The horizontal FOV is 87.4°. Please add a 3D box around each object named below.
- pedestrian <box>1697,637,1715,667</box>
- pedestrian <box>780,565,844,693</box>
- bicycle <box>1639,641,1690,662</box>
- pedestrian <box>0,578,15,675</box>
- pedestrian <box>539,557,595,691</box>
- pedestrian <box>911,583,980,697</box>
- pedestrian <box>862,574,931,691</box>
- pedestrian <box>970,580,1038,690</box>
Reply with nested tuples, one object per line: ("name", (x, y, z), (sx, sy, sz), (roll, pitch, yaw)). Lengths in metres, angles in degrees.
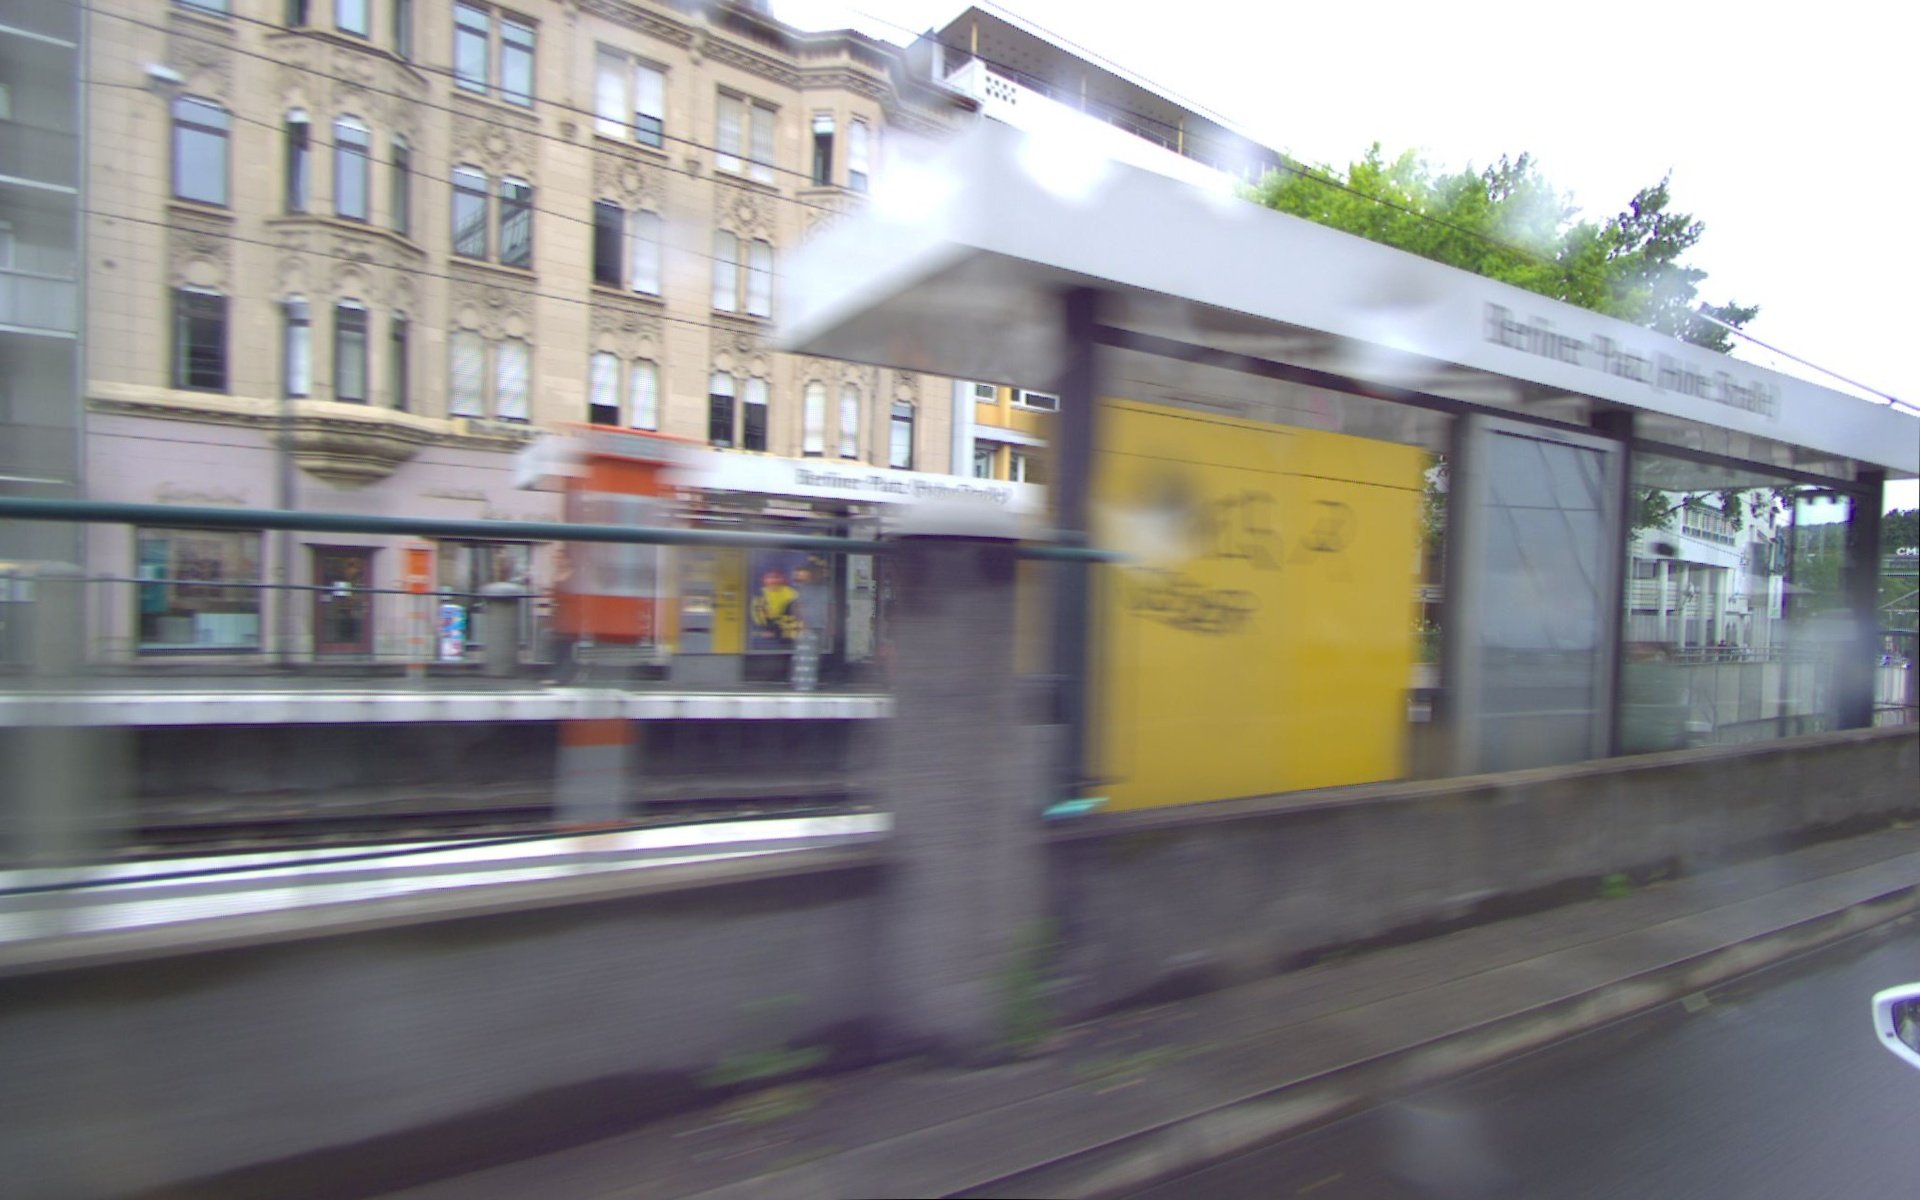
("pedestrian", (42.687, 2.960, 57.489), (0.661, 1.637, 0.941), (3, 0, 28))
("pedestrian", (-2.000, 0.375, 13.538), (0.674, 1.682, 0.630), (1, 1, -27))
("bicycle", (43.324, 3.143, 61.767), (4.490, 1.057, 1.676), (0, 1, -43))
("pedestrian", (-17.340, 0.459, 17.890), (0.598, 1.705, 0.421), (1, 2, -19))
("pedestrian", (-4.734, 0.283, 12.099), (0.511, 1.558, 0.555), (2, 0, -30))
("pedestrian", (-0.229, 0.628, 15.270), (0.767, 1.670, 0.769), (1, -5, -26))
("pedestrian", (-0.946, 0.498, 14.837), (0.767, 1.670, 0.769), (1, -5, -26))
("pedestrian", (0.676, 0.571, 15.756), (0.767, 1.670, 0.769), (1, -5, -26))
